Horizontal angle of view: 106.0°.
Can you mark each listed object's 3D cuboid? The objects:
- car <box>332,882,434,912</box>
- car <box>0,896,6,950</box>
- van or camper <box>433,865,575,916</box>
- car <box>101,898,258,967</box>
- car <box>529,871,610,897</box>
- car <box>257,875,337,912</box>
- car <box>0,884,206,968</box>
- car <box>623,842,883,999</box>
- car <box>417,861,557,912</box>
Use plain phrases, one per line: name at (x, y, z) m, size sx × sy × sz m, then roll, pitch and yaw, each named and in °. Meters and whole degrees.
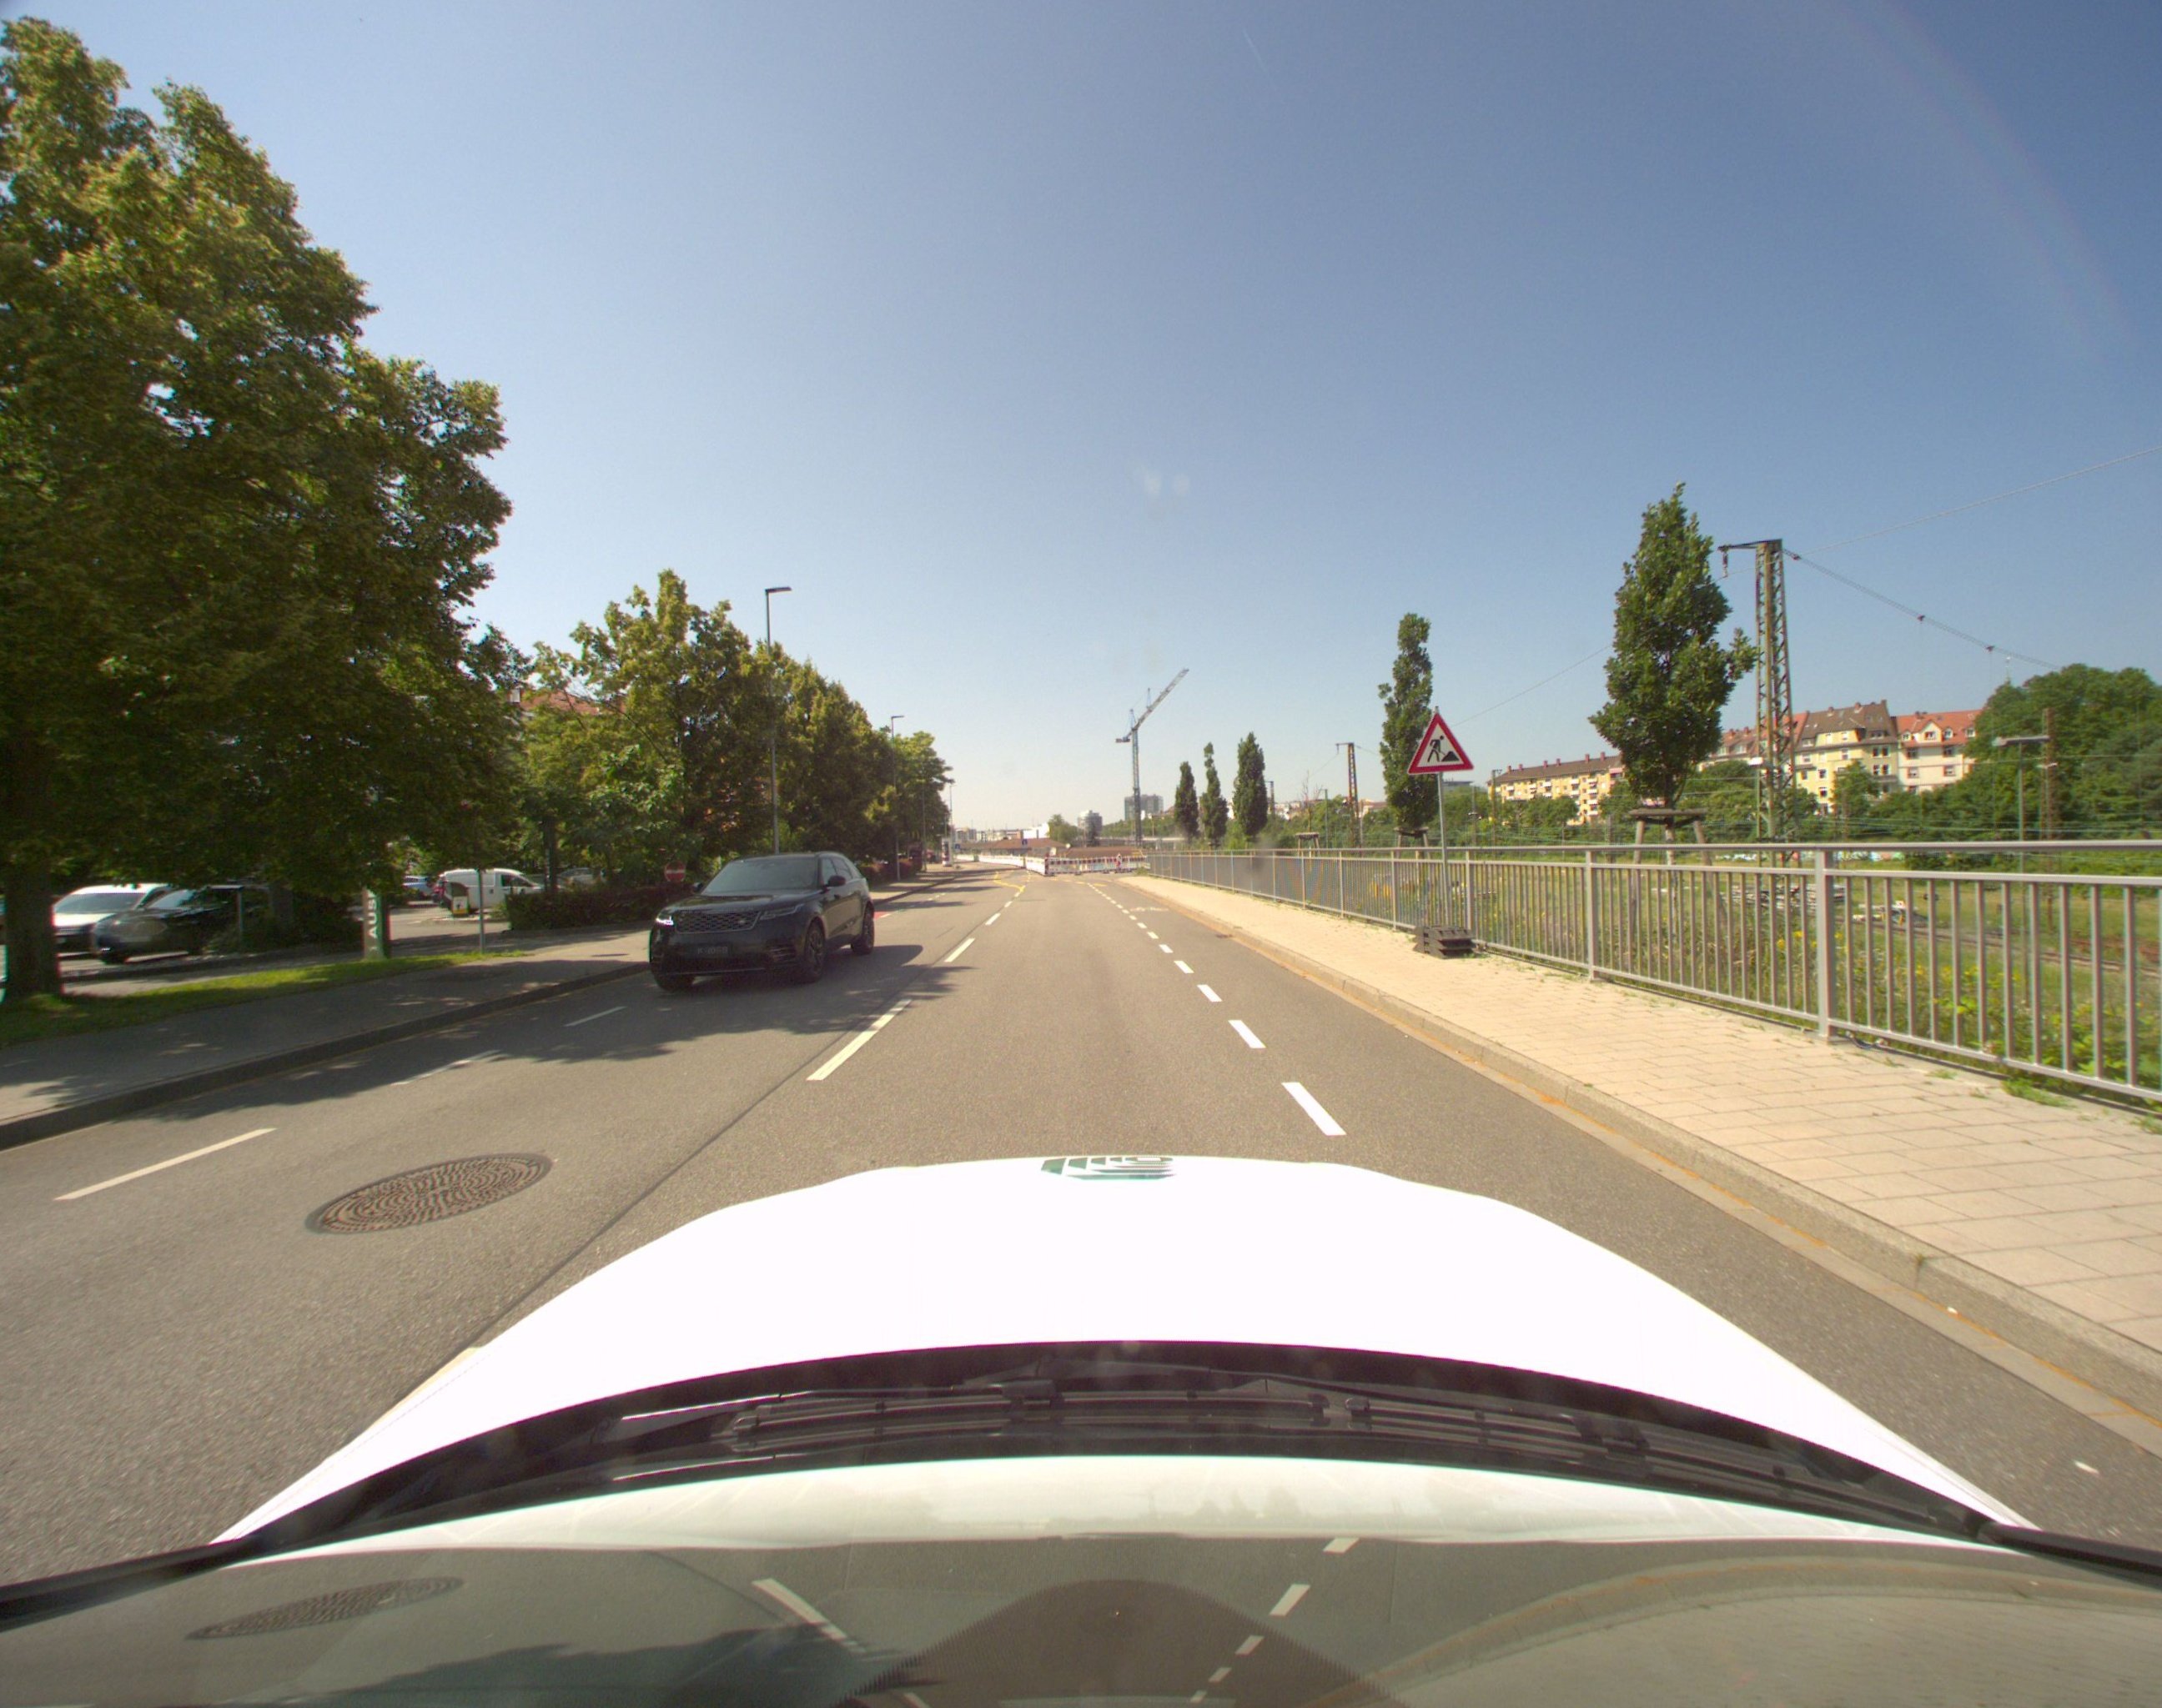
car at (-39.144, 2.404, 45.765) m, size 4.008 × 1.338 × 1.572 m, roll -3°, pitch 1°, yaw -26°
car at (-30.857, 1.962, 20.312) m, size 4.401 × 1.438 × 1.983 m, roll -3°, pitch 1°, yaw -26°
van or camper at (-23.431, 1.451, 33.271) m, size 4.285 × 1.740 × 1.987 m, roll -3°, pitch 0°, yaw -20°
car at (-21.942, 1.850, 20.002) m, size 1.615 × 1.285 × 3.958 m, roll -3°, pitch 1°, yaw -34°
car at (-34.993, 2.041, 55.852) m, size 4.285 × 1.438 × 1.987 m, roll -3°, pitch 0°, yaw -20°
car at (-35.548, 1.779, 36.916) m, size 3.390 × 1.526 × 1.511 m, roll -2°, pitch 0°, yaw 26°
car at (-24.894, 1.732, 20.931) m, size 1.721 × 1.735 × 4.214 m, roll -3°, pitch 1°, yaw -24°
car at (-4.299, 0.736, 11.616) m, size 1.946 × 1.695 × 4.608 m, roll -3°, pitch 1°, yaw -3°
car at (-27.003, 1.421, 37.250) m, size 4.755 × 2.013 × 2.068 m, roll -3°, pitch 0°, yaw -25°
